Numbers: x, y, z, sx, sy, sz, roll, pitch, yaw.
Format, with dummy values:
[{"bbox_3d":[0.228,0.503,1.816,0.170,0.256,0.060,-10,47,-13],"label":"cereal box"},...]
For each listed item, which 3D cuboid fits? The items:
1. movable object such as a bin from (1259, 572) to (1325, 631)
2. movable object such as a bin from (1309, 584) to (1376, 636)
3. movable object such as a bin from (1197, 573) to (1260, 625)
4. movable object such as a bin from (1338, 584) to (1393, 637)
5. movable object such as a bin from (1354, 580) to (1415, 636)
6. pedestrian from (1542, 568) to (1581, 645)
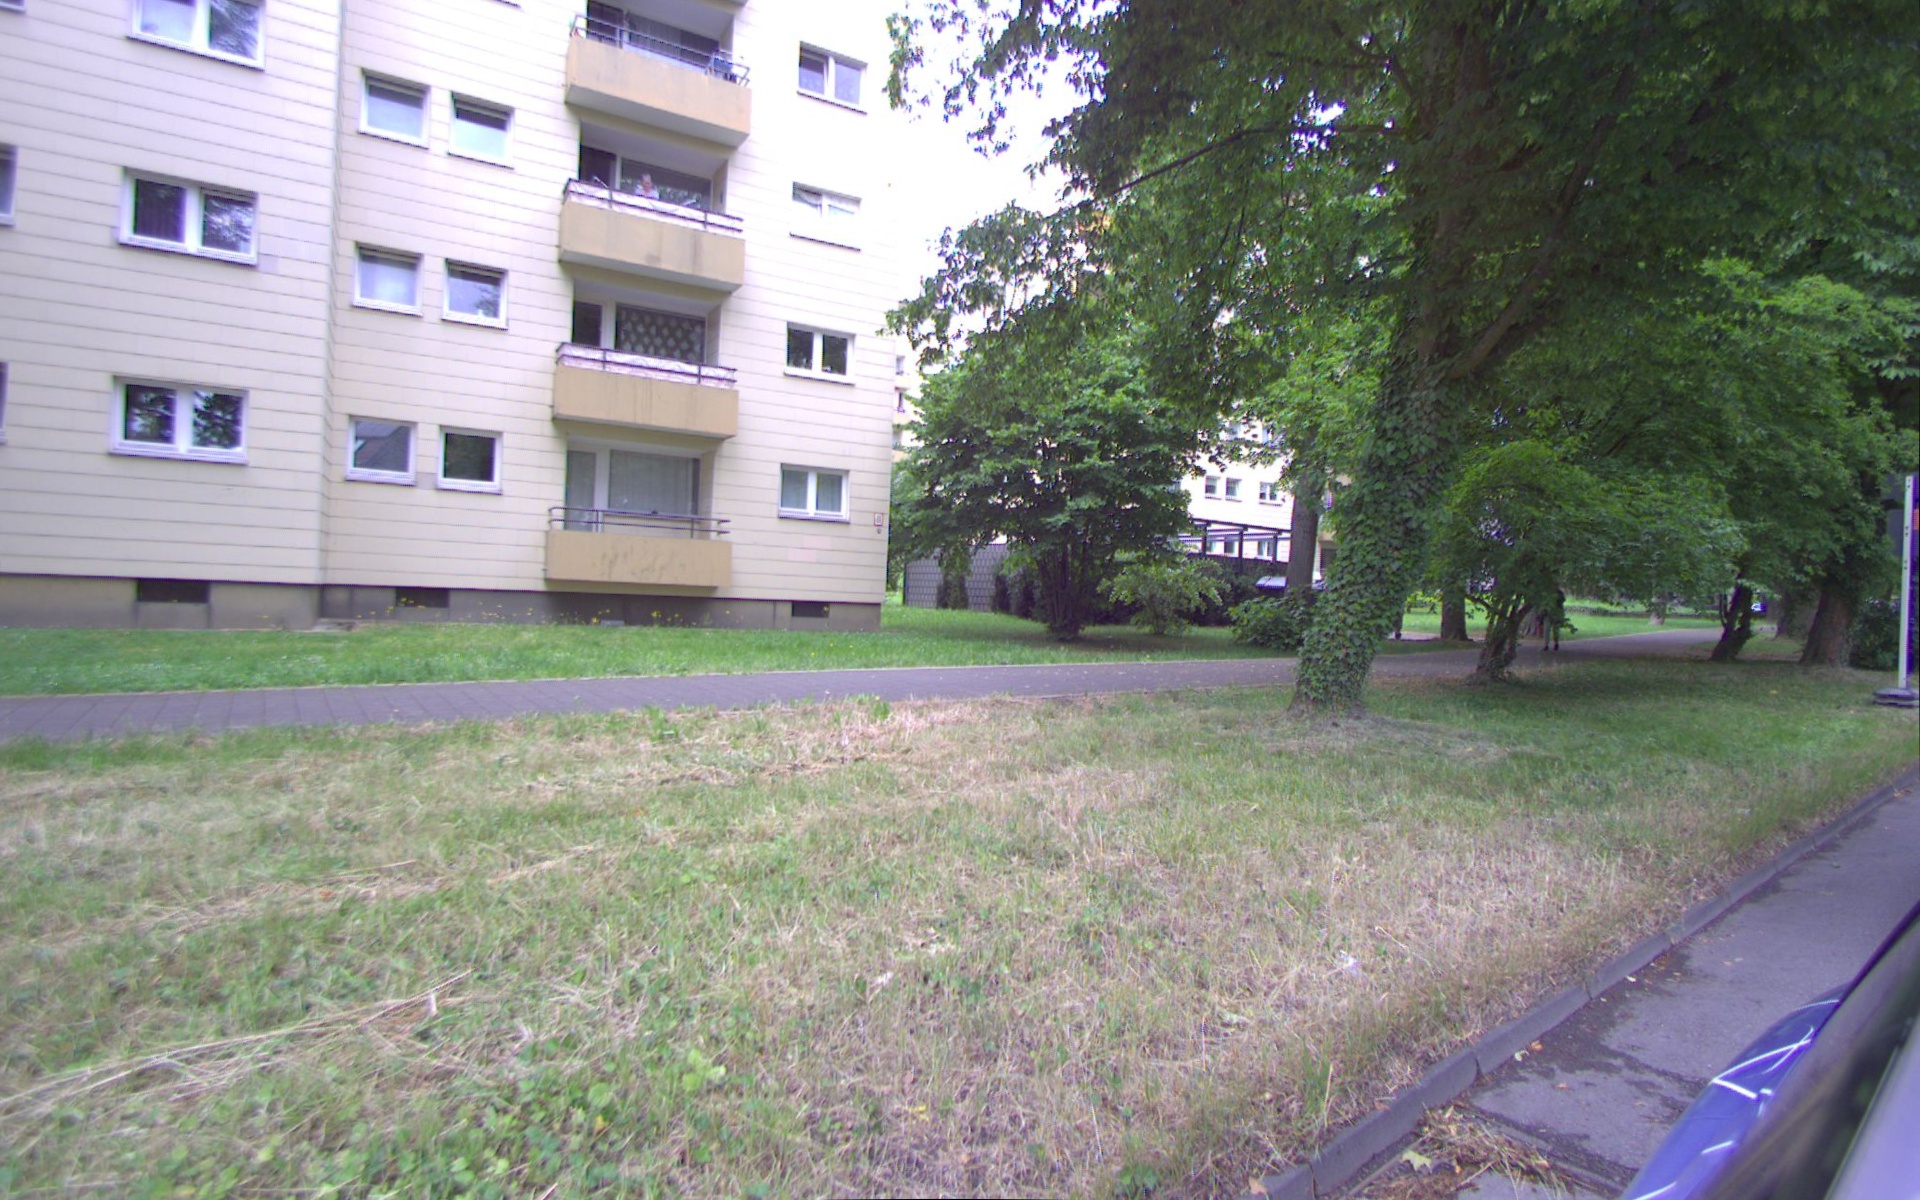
[{"bbox_3d":[8.682,0.025,26.449,1.190,1.475,1.328,3,2,41],"label":"movable object such as a bin"},{"bbox_3d":[9.672,0.241,25.577,1.190,1.236,1.328,3,2,41],"label":"movable object such as a bin"},{"bbox_3d":[7.420,-0.034,27.921,1.190,1.358,1.328,3,2,41],"label":"movable object such as a bin"},{"bbox_3d":[10.559,0.262,26.351,1.022,1.320,0.946,3,2,41],"label":"movable object such as a bin"},{"bbox_3d":[11.360,0.203,27.070,1.190,1.431,1.094,3,2,41],"label":"movable object such as a bin"},{"bbox_3d":[14.154,0.155,23.835,0.560,1.761,0.565,1,2,-41],"label":"pedestrian"}]
